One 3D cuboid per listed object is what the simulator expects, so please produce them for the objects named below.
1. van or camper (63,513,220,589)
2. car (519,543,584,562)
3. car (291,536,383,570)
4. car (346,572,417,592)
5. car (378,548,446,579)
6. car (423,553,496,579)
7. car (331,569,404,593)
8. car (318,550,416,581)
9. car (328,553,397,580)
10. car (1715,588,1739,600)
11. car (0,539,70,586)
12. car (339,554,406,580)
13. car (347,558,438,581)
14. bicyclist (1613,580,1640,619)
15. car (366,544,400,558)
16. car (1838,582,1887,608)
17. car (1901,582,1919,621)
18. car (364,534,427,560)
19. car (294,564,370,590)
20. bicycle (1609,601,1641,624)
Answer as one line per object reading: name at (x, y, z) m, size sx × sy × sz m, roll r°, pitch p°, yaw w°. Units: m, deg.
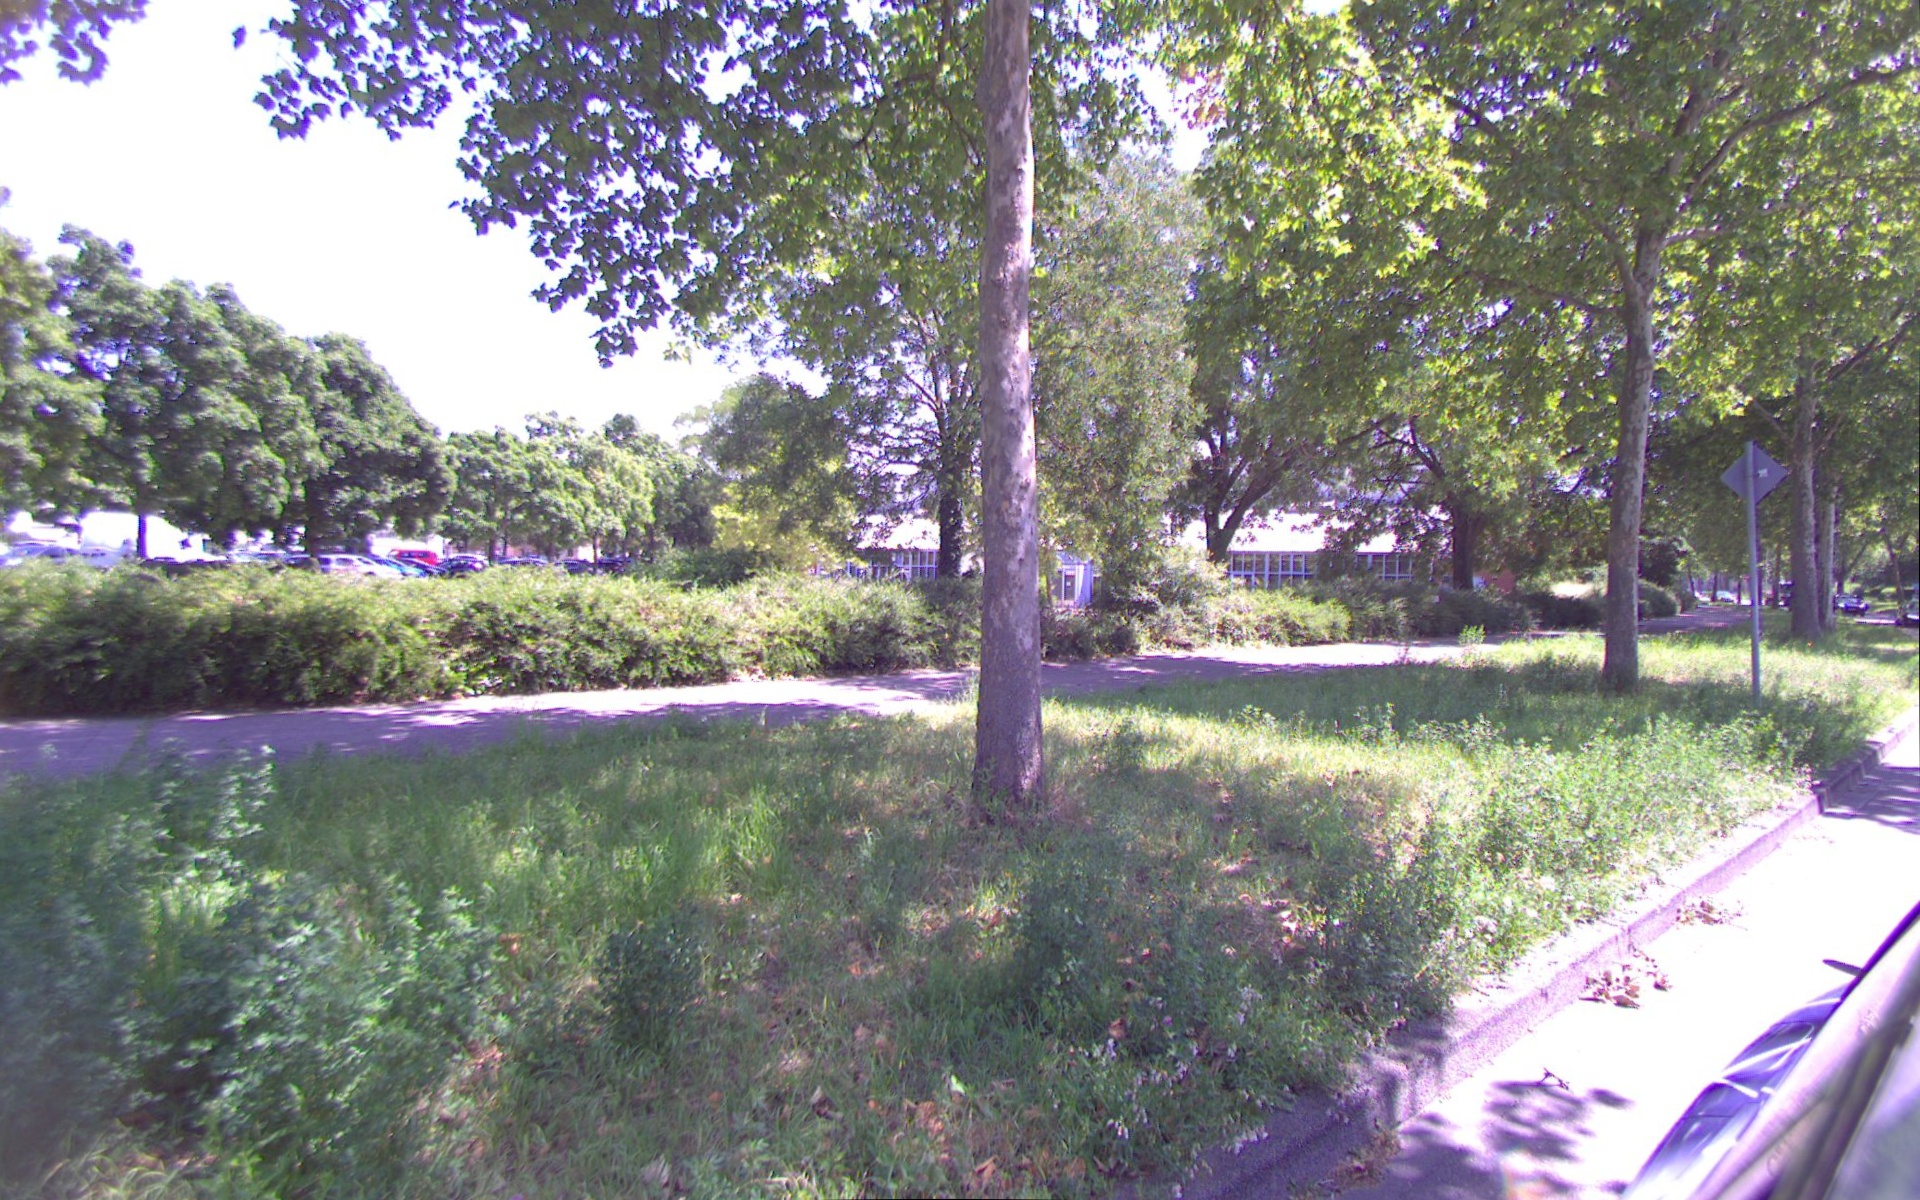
van or camper at (-32.485, -1.917, 40.394) m, size 2.161 × 2.785 × 5.131 m, roll 1°, pitch 2°, yaw 0°
car at (-62.310, -7.272, 154.477) m, size 8.647 × 2.620 × 3.054 m, roll 1°, pitch 1°, yaw -9°
car at (-38.795, -2.905, 63.145) m, size 4.334 × 2.039 × 2.249 m, roll 1°, pitch 1°, yaw -5°
car at (-25.847, -0.819, 45.253) m, size 2.547 × 0.852 × 0.955 m, roll 1°, pitch 1°, yaw -8°
car at (-40.799, -2.734, 75.409) m, size 3.920 × 2.039 × 1.969 m, roll -2°, pitch -1°, yaw -6°
car at (-28.640, -1.932, 57.960) m, size 3.357 × 1.383 × 1.720 m, roll 1°, pitch 1°, yaw -8°
car at (-25.689, -0.834, 43.928) m, size 2.547 × 0.999 × 0.955 m, roll 1°, pitch 1°, yaw -8°
car at (-27.218, -1.586, 46.531) m, size 3.501 × 1.241 × 1.623 m, roll 2°, pitch 0°, yaw -8°
car at (-27.511, -1.541, 46.624) m, size 2.547 × 1.141 × 1.008 m, roll 1°, pitch 1°, yaw -8°
car at (89.720, -0.693, 118.382) m, size 1.493 × 1.404 × 3.399 m, roll 2°, pitch 1°, yaw 25°
car at (-36.519, -1.433, 38.425) m, size 1.919 × 1.739 × 4.073 m, roll 1°, pitch 1°, yaw -1°
car at (-27.658, -1.546, 47.699) m, size 2.547 × 1.141 × 0.955 m, roll 1°, pitch 1°, yaw -8°
car at (-27.495, -1.465, 49.125) m, size 3.494 × 1.047 × 1.685 m, roll 1°, pitch 2°, yaw -8°
bicyclist at (23.493, -0.026, 35.672) m, size 0.654 × 1.355 × 0.600 m, roll 0°, pitch 1°, yaw -39°
car at (-69.941, -5.926, 122.632) m, size 1.433 × 1.638 × 3.326 m, roll 2°, pitch 2°, yaw 35°
car at (66.416, -0.366, 74.530) m, size 1.985 × 1.816 × 3.955 m, roll 2°, pitch 2°, yaw 32°
car at (49.340, 0.081, 51.174) m, size 1.988 × 1.905 × 3.949 m, roll 2°, pitch 2°, yaw 35°
car at (-76.140, -7.160, 136.654) m, size 7.056 × 3.221 × 3.197 m, roll 0°, pitch 1°, yaw -24°
car at (-26.306, -0.958, 42.417) m, size 2.547 × 1.049 × 0.955 m, roll 1°, pitch 1°, yaw -8°
bicycle at (23.425, 0.432, 35.646) m, size 1.638 × 0.773 × 0.465 m, roll 0°, pitch 1°, yaw -39°
